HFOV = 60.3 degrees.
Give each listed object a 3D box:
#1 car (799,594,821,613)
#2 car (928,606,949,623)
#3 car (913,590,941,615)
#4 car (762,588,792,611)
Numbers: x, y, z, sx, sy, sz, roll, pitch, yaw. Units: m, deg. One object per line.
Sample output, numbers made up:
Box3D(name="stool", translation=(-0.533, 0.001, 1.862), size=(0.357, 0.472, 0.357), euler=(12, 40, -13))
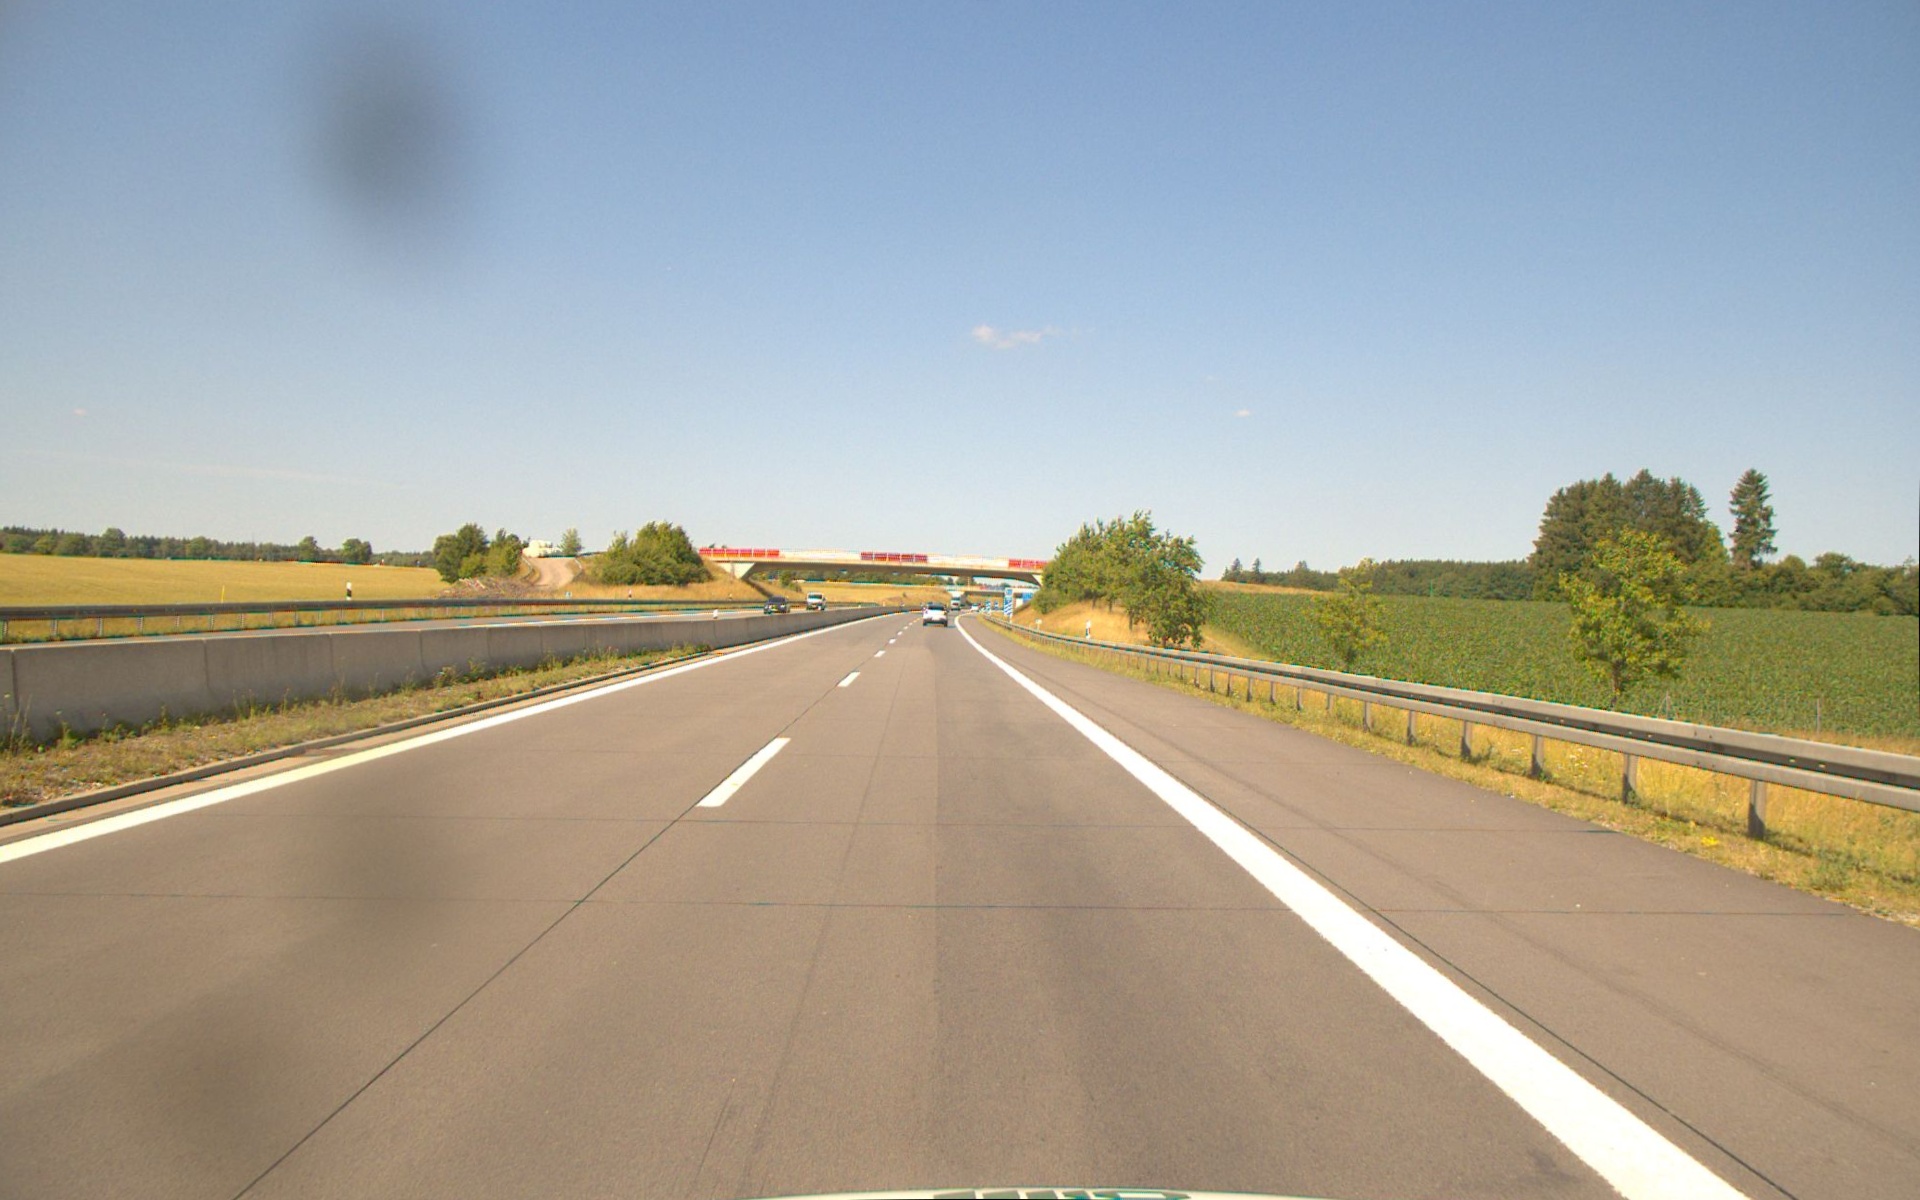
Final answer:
Box3D(name="car", translation=(-17.238, 0.416, 190.217), size=(1.954, 2.048, 5.713), euler=(5, -1, -2))
Box3D(name="car", translation=(-2.219, 1.503, 173.481), size=(1.952, 1.761, 4.870), euler=(2, 0, 1))
Box3D(name="car", translation=(-2.402, 0.207, 121.552), size=(1.953, 1.761, 4.869), euler=(2, 0, 0))
Box3D(name="car", translation=(-15.218, -0.077, 137.432), size=(1.869, 1.714, 5.006), euler=(5, 0, -1))
